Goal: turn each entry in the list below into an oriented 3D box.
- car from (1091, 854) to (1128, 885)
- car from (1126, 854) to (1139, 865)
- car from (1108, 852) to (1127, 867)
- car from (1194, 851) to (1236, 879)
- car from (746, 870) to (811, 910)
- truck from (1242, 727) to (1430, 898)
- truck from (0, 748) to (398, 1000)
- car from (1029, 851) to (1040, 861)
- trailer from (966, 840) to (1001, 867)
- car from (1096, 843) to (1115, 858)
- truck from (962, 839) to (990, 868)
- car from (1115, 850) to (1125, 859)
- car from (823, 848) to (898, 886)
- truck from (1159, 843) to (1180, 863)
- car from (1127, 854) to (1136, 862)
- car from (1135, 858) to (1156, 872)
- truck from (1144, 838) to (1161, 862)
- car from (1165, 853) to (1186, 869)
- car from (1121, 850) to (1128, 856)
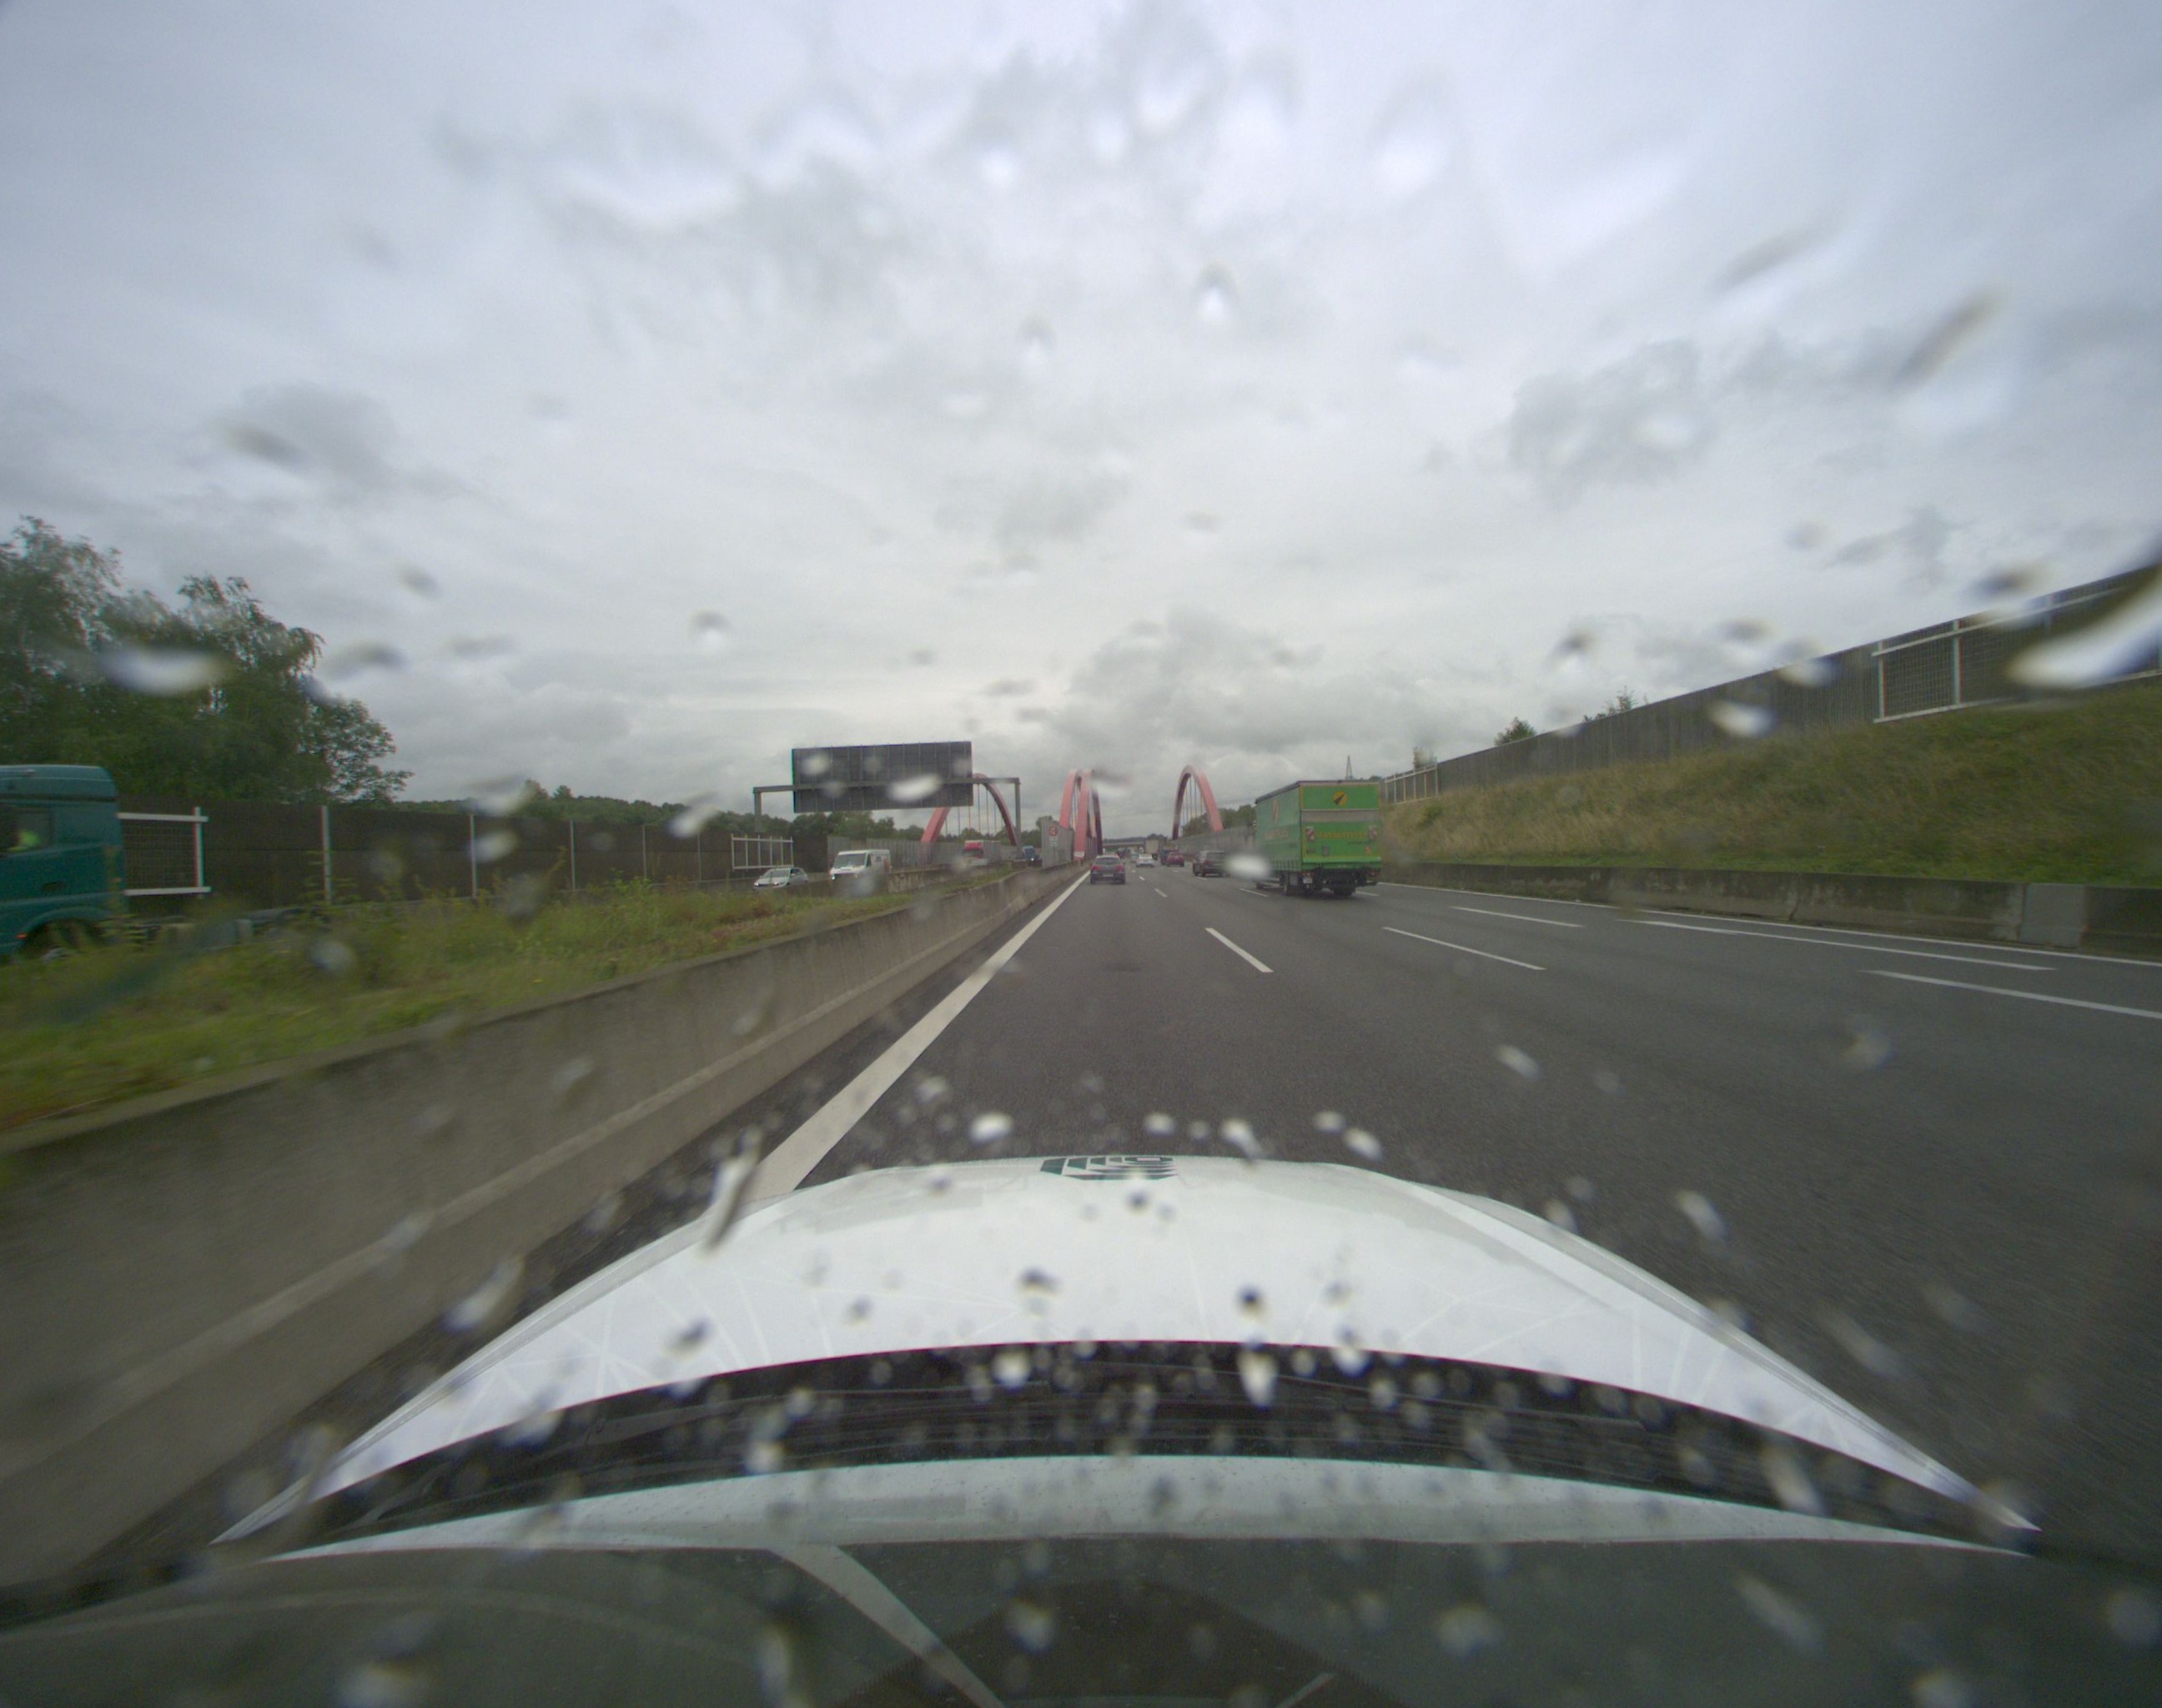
[{"bbox_3d":[1.444,0.731,40.889,1.757,1.453,4.002,-1,0,2],"label":"car"},{"bbox_3d":[7.298,0.768,115.133,1.696,1.543,3.840,-1,0,1],"label":"car"},{"bbox_3d":[3.616,0.562,80.989,1.775,1.406,3.627,-1,0,1],"label":"car"},{"bbox_3d":[8.339,0.690,51.142,1.906,1.670,4.102,-1,0,-1],"label":"car"},{"bbox_3d":[-16.406,1.888,44.355,1.986,1.980,4.001,-1,0,1],"label":"car"},{"bbox_3d":[8.930,-1.273,30.653,3.982,5.266,11.225,0,0,2],"label":"truck"},{"bbox_3d":[-17.792,0.308,15.649,2.852,3.838,7.524,0,0,1],"label":"truck"},{"bbox_3d":[-10.001,0.381,175.022,1.987,2.013,4.191,-1,0,0],"label":"car"},{"bbox_3d":[-14.192,-0.133,120.018,2.973,3.728,14.313,-1,0,2],"label":"trailer"},{"bbox_3d":[2.737,-0.367,91.104,1.986,1.585,4.001,-2,0,1],"label":"car"},{"bbox_3d":[-14.401,-0.081,111.997,2.973,3.753,5.919,-1,0,2],"label":"truck"},{"bbox_3d":[8.316,0.141,174.748,1.986,1.815,4.002,-1,0,2],"label":"car"},{"bbox_3d":[-12.668,0.698,47.398,2.205,2.013,7.062,-1,0,2],"label":"car"},{"bbox_3d":[11.355,-0.089,104.749,2.352,2.506,6.147,-1,0,2],"label":"truck"},{"bbox_3d":[12.070,1.001,194.061,1.986,2.013,4.002,0,0,2],"label":"car"},{"bbox_3d":[6.822,1.141,86.599,1.986,1.486,4.001,-1,0,1],"label":"car"},{"bbox_3d":[14.118,-0.733,160.908,3.032,4.734,7.684,0,0,2],"label":"truck"},{"bbox_3d":[10.419,0.767,90.364,1.950,1.647,4.001,0,0,1],"label":"car"},{"bbox_3d":[11.935,-0.401,223.392,1.984,1.624,4.005,-1,0,4],"label":"car"}]
